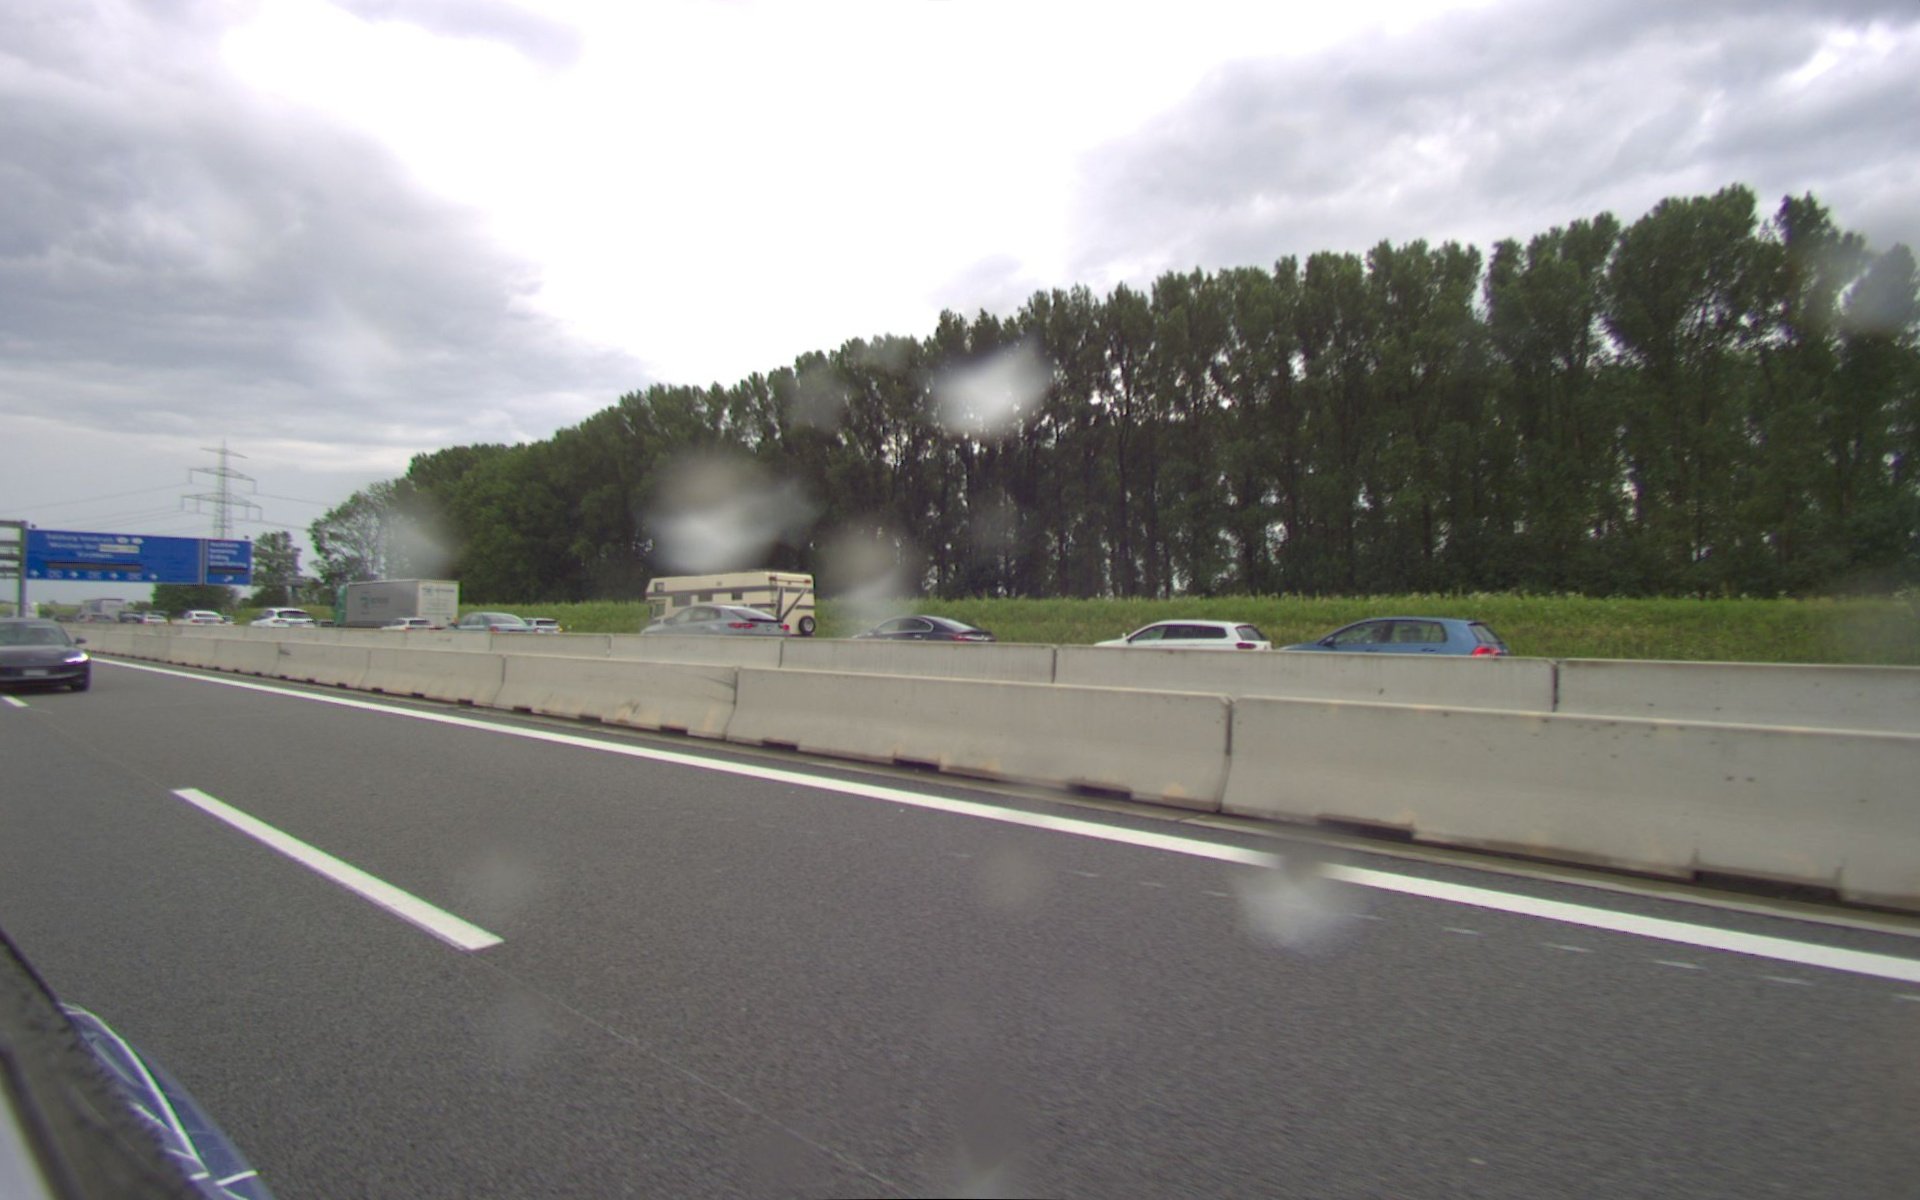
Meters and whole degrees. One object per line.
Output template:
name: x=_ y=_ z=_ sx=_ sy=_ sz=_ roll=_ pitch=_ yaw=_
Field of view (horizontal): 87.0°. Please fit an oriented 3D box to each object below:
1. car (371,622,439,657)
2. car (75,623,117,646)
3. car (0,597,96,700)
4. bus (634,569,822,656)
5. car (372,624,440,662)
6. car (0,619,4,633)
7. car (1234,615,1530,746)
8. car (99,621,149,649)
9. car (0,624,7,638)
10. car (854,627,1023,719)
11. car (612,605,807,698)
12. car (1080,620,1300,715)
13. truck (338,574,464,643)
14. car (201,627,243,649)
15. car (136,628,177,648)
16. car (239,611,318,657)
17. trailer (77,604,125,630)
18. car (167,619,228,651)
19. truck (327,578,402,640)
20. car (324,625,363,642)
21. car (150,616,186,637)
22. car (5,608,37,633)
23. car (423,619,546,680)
car: x=-31.437 y=2.217 z=57.294 sx=4.398 sy=1.869 sz=1.973 roll=-1 pitch=-1 yaw=40
car: x=-72.791 y=2.889 z=85.241 sx=5.183 sy=1.900 sz=1.973 roll=-1 pitch=-1 yaw=41
car: x=-18.886 y=0.912 z=20.219 sx=5.164 sy=1.834 sz=1.971 roll=-1 pitch=-1 yaw=44
bus: x=-10.212 y=0.567 z=43.537 sx=9.963 sy=3.358 sz=2.800 roll=-1 pitch=-1 yaw=43
car: x=-31.505 y=2.397 z=57.541 sx=4.637 sy=2.029 sz=1.972 roll=-1 pitch=-1 yaw=42
car: x=-117.789 y=3.124 z=123.096 sx=3.998 sy=1.670 sz=1.849 roll=-1 pitch=-1 yaw=41
car: x=7.424 y=1.315 z=18.090 sx=4.535 sy=2.029 sz=1.830 roll=-1 pitch=-1 yaw=41
car: x=-59.285 y=2.467 z=71.747 sx=5.185 sy=1.912 sz=1.972 roll=-1 pitch=-1 yaw=42
car: x=-128.811 y=4.134 z=135.039 sx=4.015 sy=1.740 sz=1.973 roll=-1 pitch=-1 yaw=41
car: x=-0.580 y=1.706 z=24.954 sx=3.998 sy=2.029 sz=1.786 roll=-1 pitch=-1 yaw=41
car: x=-6.148 y=1.169 z=24.484 sx=5.179 sy=2.029 sz=1.973 roll=-1 pitch=-1 yaw=41
car: x=5.435 y=1.518 z=24.343 sx=4.806 sy=2.029 sz=1.973 roll=-1 pitch=-1 yaw=41
truck: x=-38.387 y=0.640 z=69.101 sx=13.947 sy=4.345 sz=3.114 roll=-1 pitch=-1 yaw=42
car: x=-64.094 y=3.296 z=87.838 sx=5.076 sy=1.867 sz=1.972 roll=-2 pitch=-2 yaw=42
car: x=-70.285 y=3.321 z=88.482 sx=5.076 sy=1.717 sz=1.972 roll=-2 pitch=-2 yaw=42
car: x=-31.897 y=1.547 z=47.308 sx=4.762 sy=2.029 sz=1.972 roll=-1 pitch=-1 yaw=42
trailer: x=-123.269 y=2.494 z=145.131 sx=14.444 sy=3.534 sz=3.077 roll=-1 pitch=-1 yaw=41
car: x=-45.943 y=2.080 z=60.932 sx=5.076 sy=1.867 sz=1.972 roll=-2 pitch=-2 yaw=42
truck: x=-43.192 y=0.678 z=73.380 sx=5.909 sy=4.314 sz=3.085 roll=-1 pitch=-2 yaw=42
car: x=-55.380 y=3.027 z=90.878 sx=3.997 sy=1.443 sz=1.783 roll=-1 pitch=-1 yaw=40
car: x=-81.265 y=2.723 z=103.828 sx=5.400 sy=2.029 sz=1.973 roll=-1 pitch=-1 yaw=41
car: x=-105.545 y=2.311 z=113.715 sx=6.339 sy=2.636 sz=1.973 roll=-1 pitch=-1 yaw=41
car: x=-15.807 y=1.584 z=33.548 sx=4.632 sy=1.869 sz=1.973 roll=-1 pitch=-1 yaw=40
